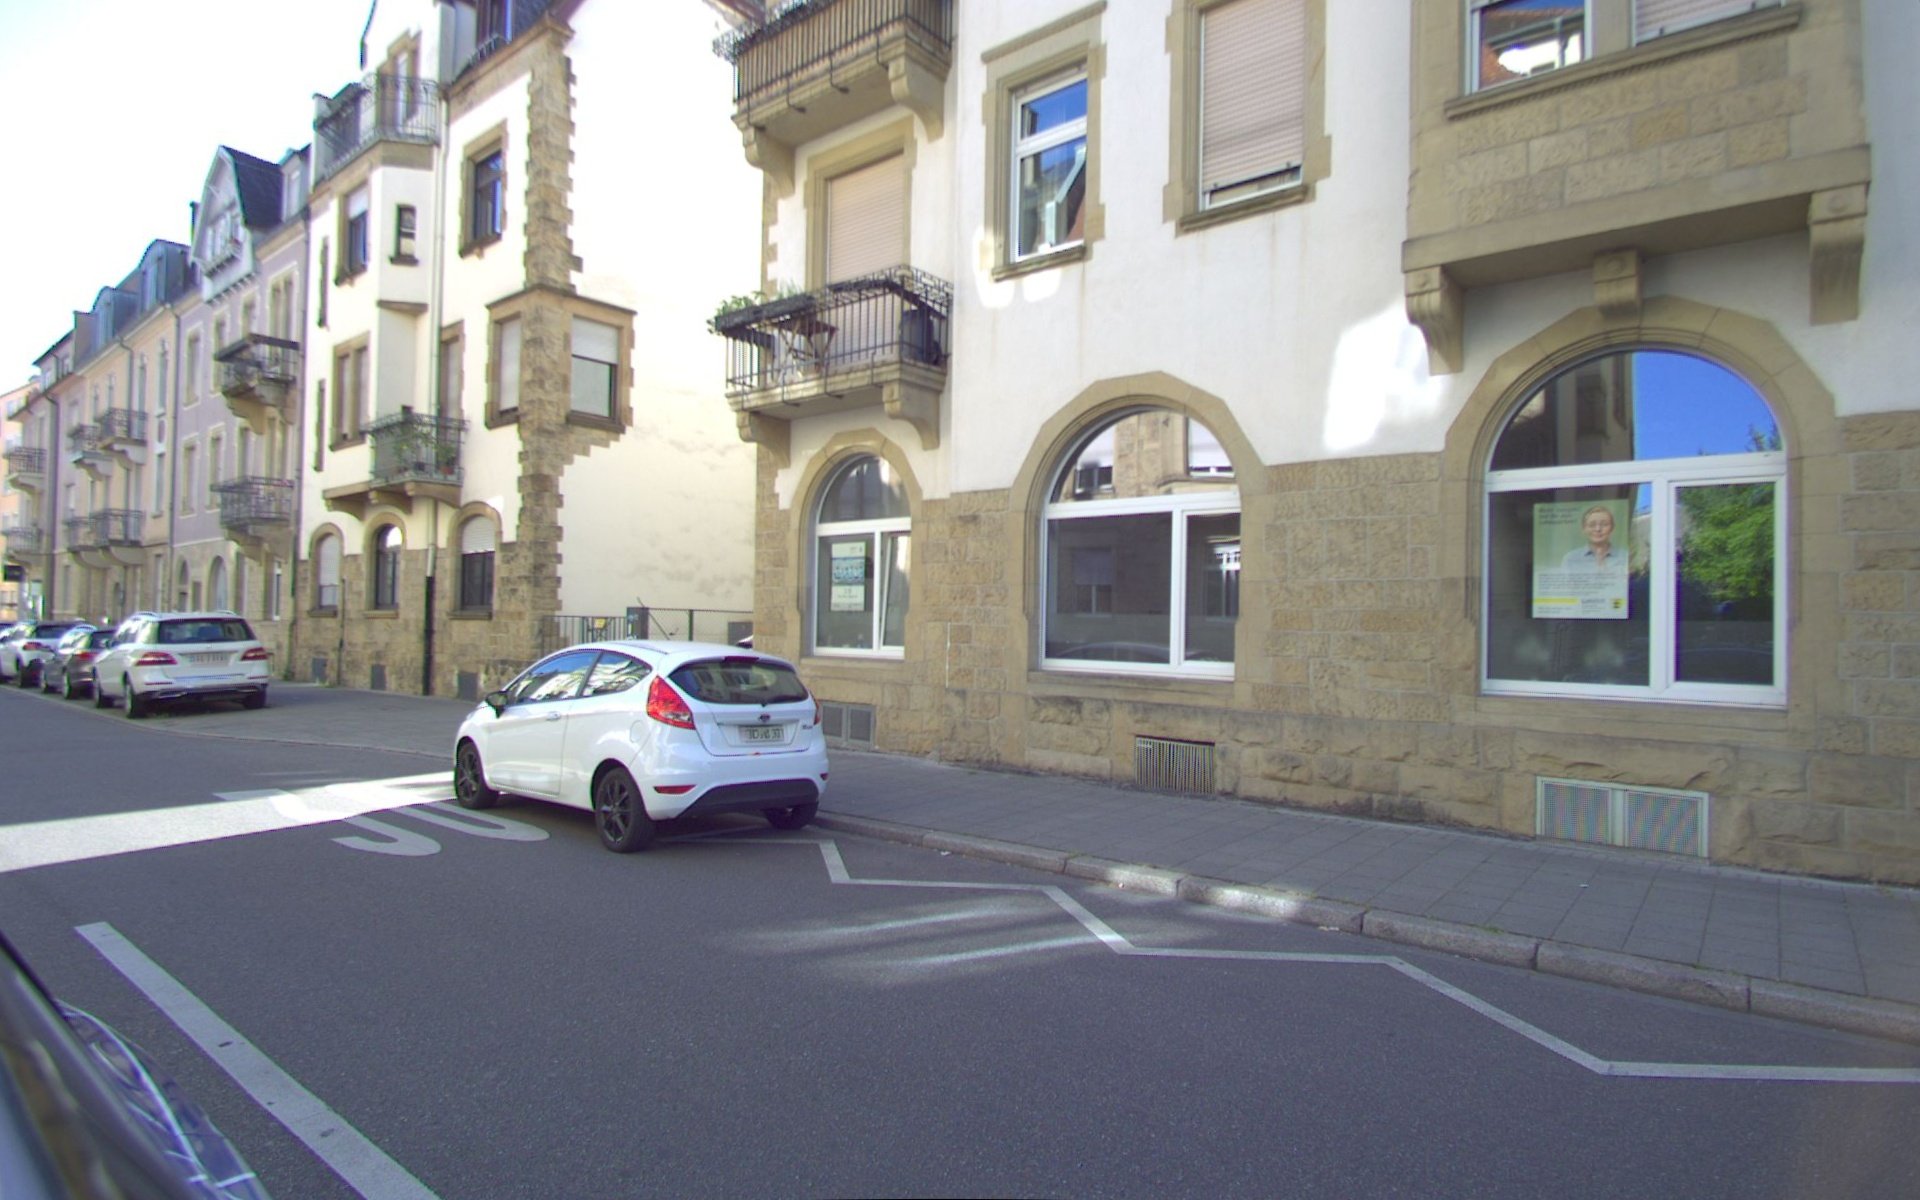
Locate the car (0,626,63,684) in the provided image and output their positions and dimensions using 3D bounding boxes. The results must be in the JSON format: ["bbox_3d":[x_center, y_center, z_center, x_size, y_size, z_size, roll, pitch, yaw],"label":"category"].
[{"bbox_3d":[-27.159,1.526,28.875,4.317,1.511,1.833,-1,0,41],"label":"car"}]

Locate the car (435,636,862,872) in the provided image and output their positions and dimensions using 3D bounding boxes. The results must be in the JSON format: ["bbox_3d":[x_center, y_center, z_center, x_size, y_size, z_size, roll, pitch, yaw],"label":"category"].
[{"bbox_3d":[-2.639,1.052,8.182,3.642,1.469,1.634,-2,-5,42],"label":"car"}]

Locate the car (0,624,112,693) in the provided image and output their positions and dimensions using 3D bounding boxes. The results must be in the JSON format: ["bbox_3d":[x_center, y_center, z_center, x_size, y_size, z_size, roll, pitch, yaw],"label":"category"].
[{"bbox_3d":[-22.950,1.392,25.435,4.319,1.520,1.866,-1,0,41],"label":"car"}]

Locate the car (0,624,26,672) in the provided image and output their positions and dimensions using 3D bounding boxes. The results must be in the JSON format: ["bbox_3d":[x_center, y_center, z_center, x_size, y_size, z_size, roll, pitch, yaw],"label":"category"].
[{"bbox_3d":[-33.143,1.617,34.222,4.319,1.520,1.866,-1,0,41],"label":"car"}]

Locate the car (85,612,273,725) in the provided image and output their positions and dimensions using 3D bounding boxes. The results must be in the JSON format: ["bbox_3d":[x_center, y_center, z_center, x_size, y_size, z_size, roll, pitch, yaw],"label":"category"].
[{"bbox_3d":[-13.956,1.107,18.002,4.209,1.740,1.866,-1,0,41],"label":"car"}]

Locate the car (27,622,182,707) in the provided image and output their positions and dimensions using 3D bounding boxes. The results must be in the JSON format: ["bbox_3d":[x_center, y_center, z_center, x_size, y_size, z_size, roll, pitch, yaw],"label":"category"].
[{"bbox_3d":[-18.447,1.299,21.754,4.319,1.519,1.866,-1,2,41],"label":"car"}]
